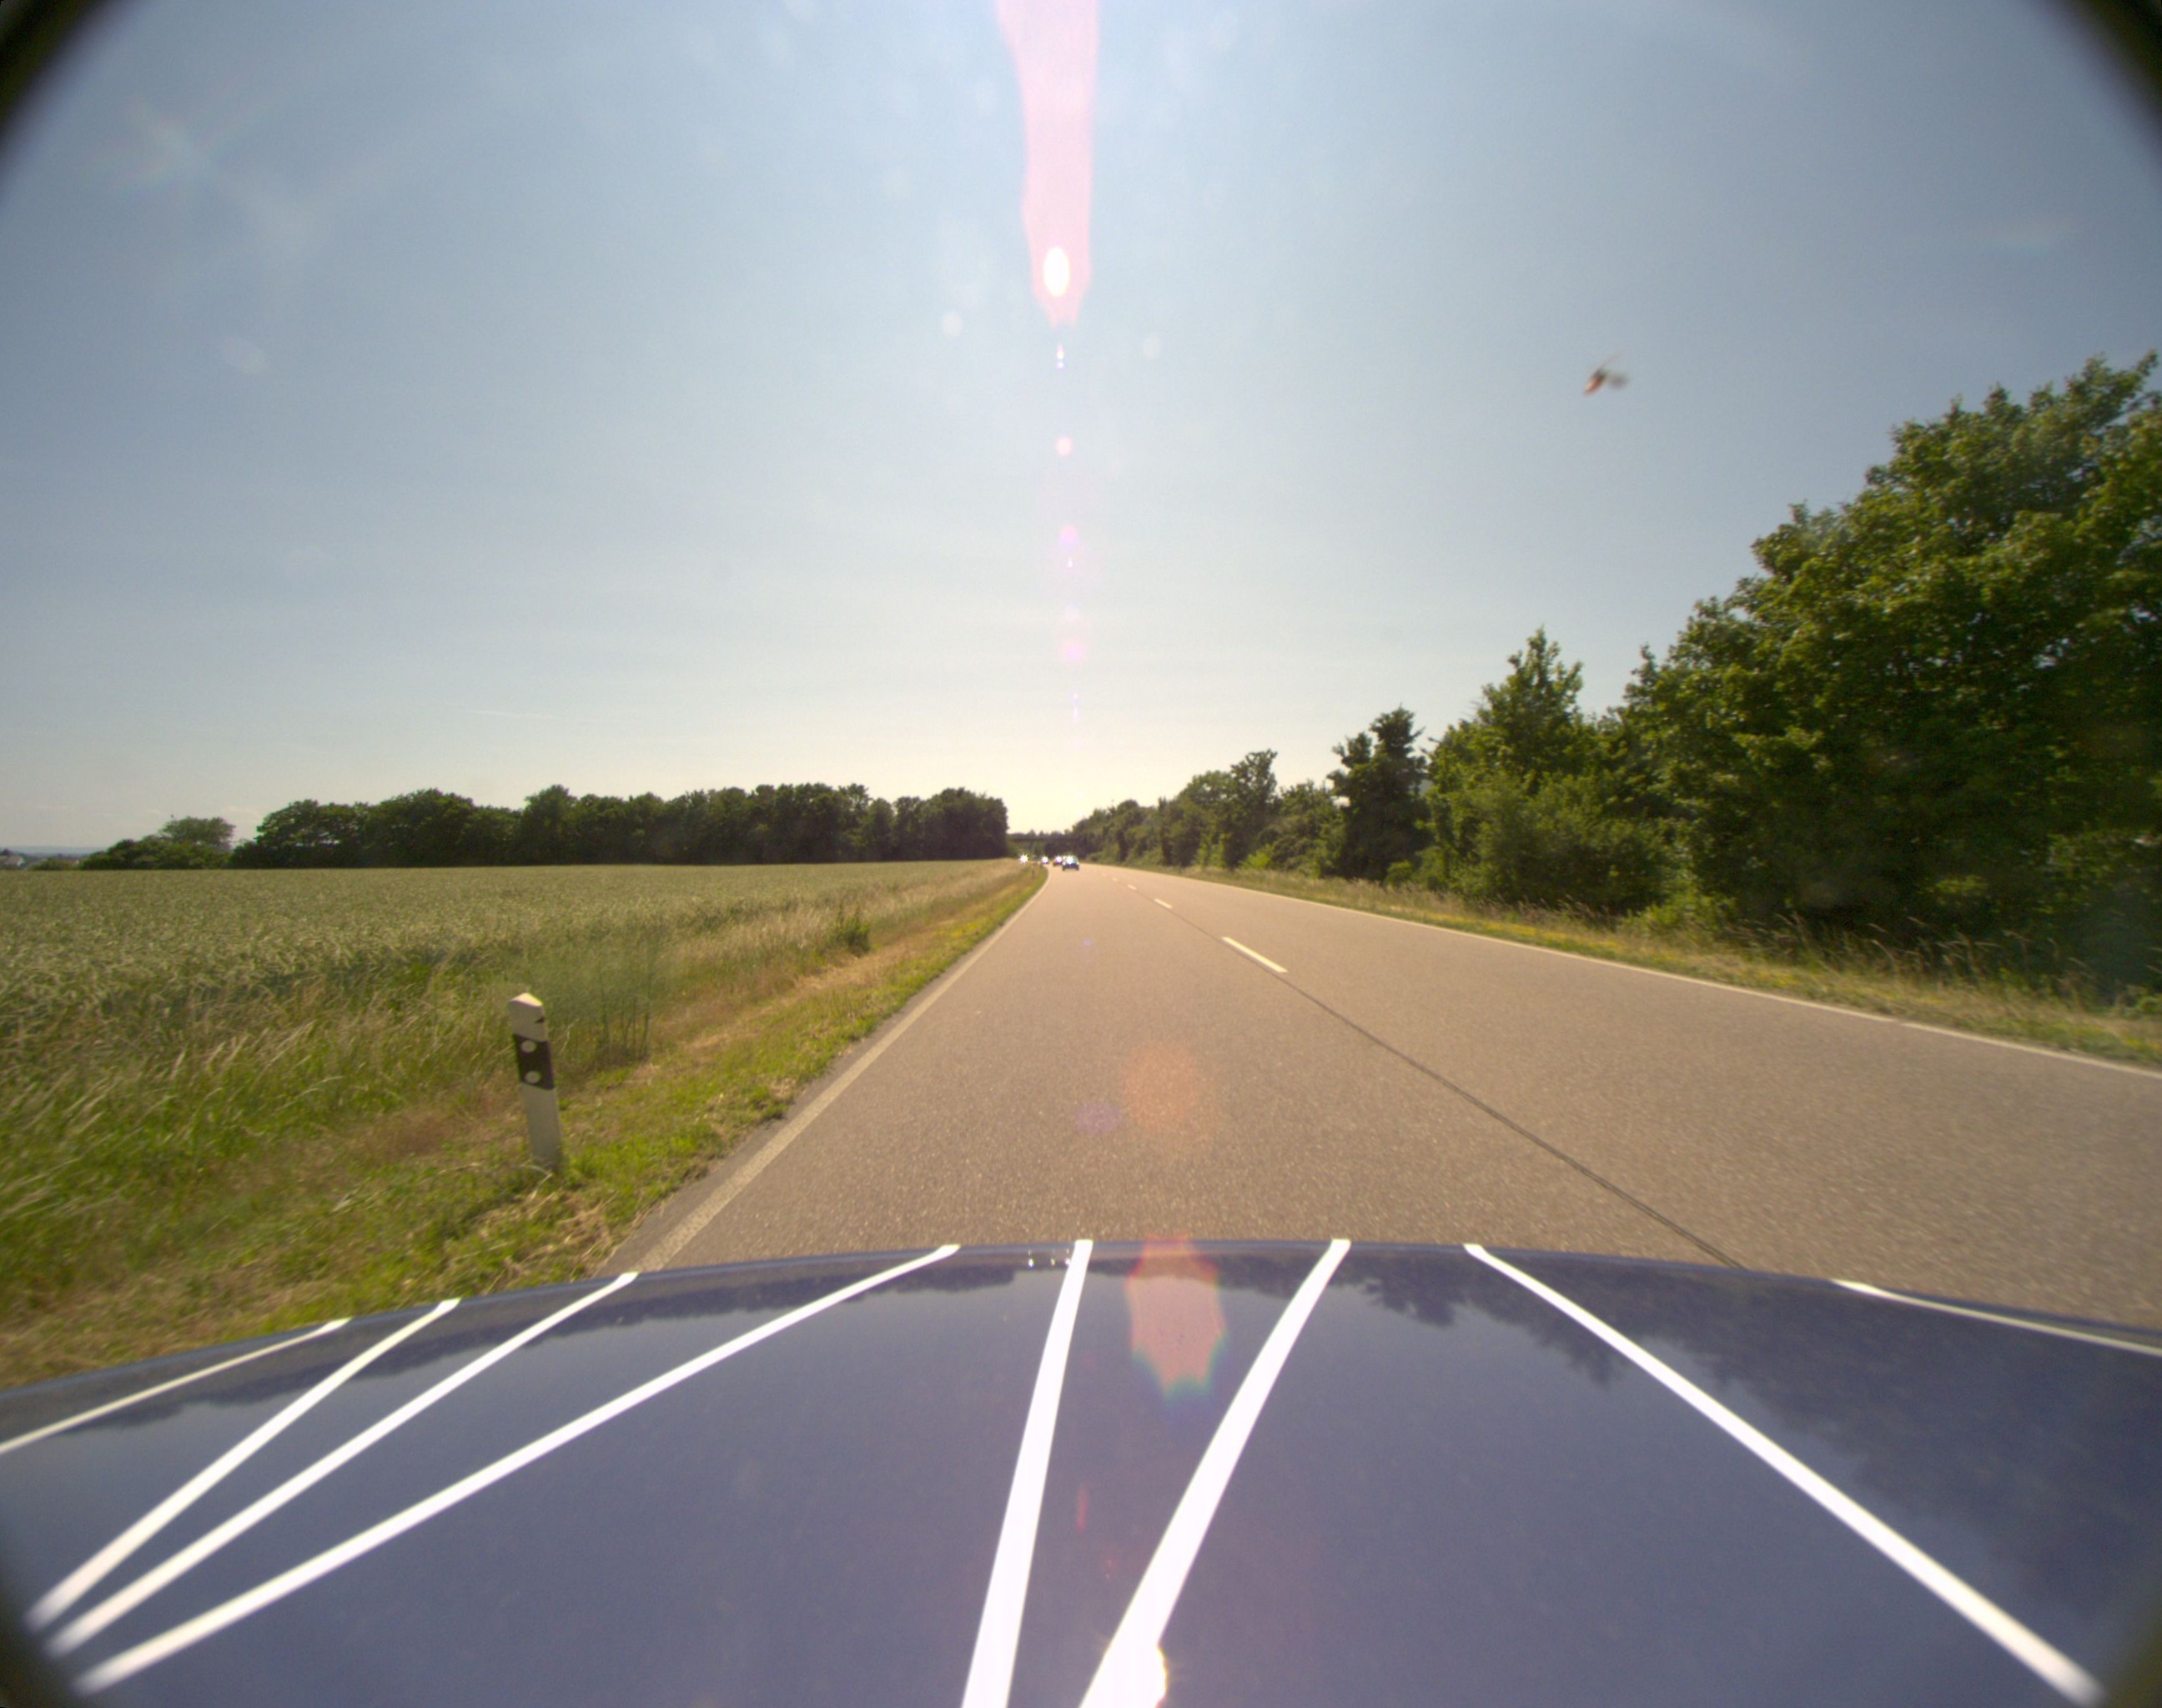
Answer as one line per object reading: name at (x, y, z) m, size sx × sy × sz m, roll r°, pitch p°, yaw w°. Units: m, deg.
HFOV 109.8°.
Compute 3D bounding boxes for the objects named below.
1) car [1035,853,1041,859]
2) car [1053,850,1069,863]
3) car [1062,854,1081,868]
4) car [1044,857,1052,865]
car at (-14.334, 0.729, 254.807) m, size 1.768 × 1.808 × 4.801 m, roll 1°, pitch 0°, yaw -5°
car at (-3.154, 0.414, 119.020) m, size 1.999 × 2.002 × 3.998 m, roll -2°, pitch 0°, yaw -6°
car at (-1.049, 0.696, 82.317) m, size 1.694 × 1.431 × 3.708 m, roll -2°, pitch 0°, yaw -6°
car at (-7.042, 1.489, 163.439) m, size 1.554 × 1.659 × 3.998 m, roll -3°, pitch 1°, yaw -3°
